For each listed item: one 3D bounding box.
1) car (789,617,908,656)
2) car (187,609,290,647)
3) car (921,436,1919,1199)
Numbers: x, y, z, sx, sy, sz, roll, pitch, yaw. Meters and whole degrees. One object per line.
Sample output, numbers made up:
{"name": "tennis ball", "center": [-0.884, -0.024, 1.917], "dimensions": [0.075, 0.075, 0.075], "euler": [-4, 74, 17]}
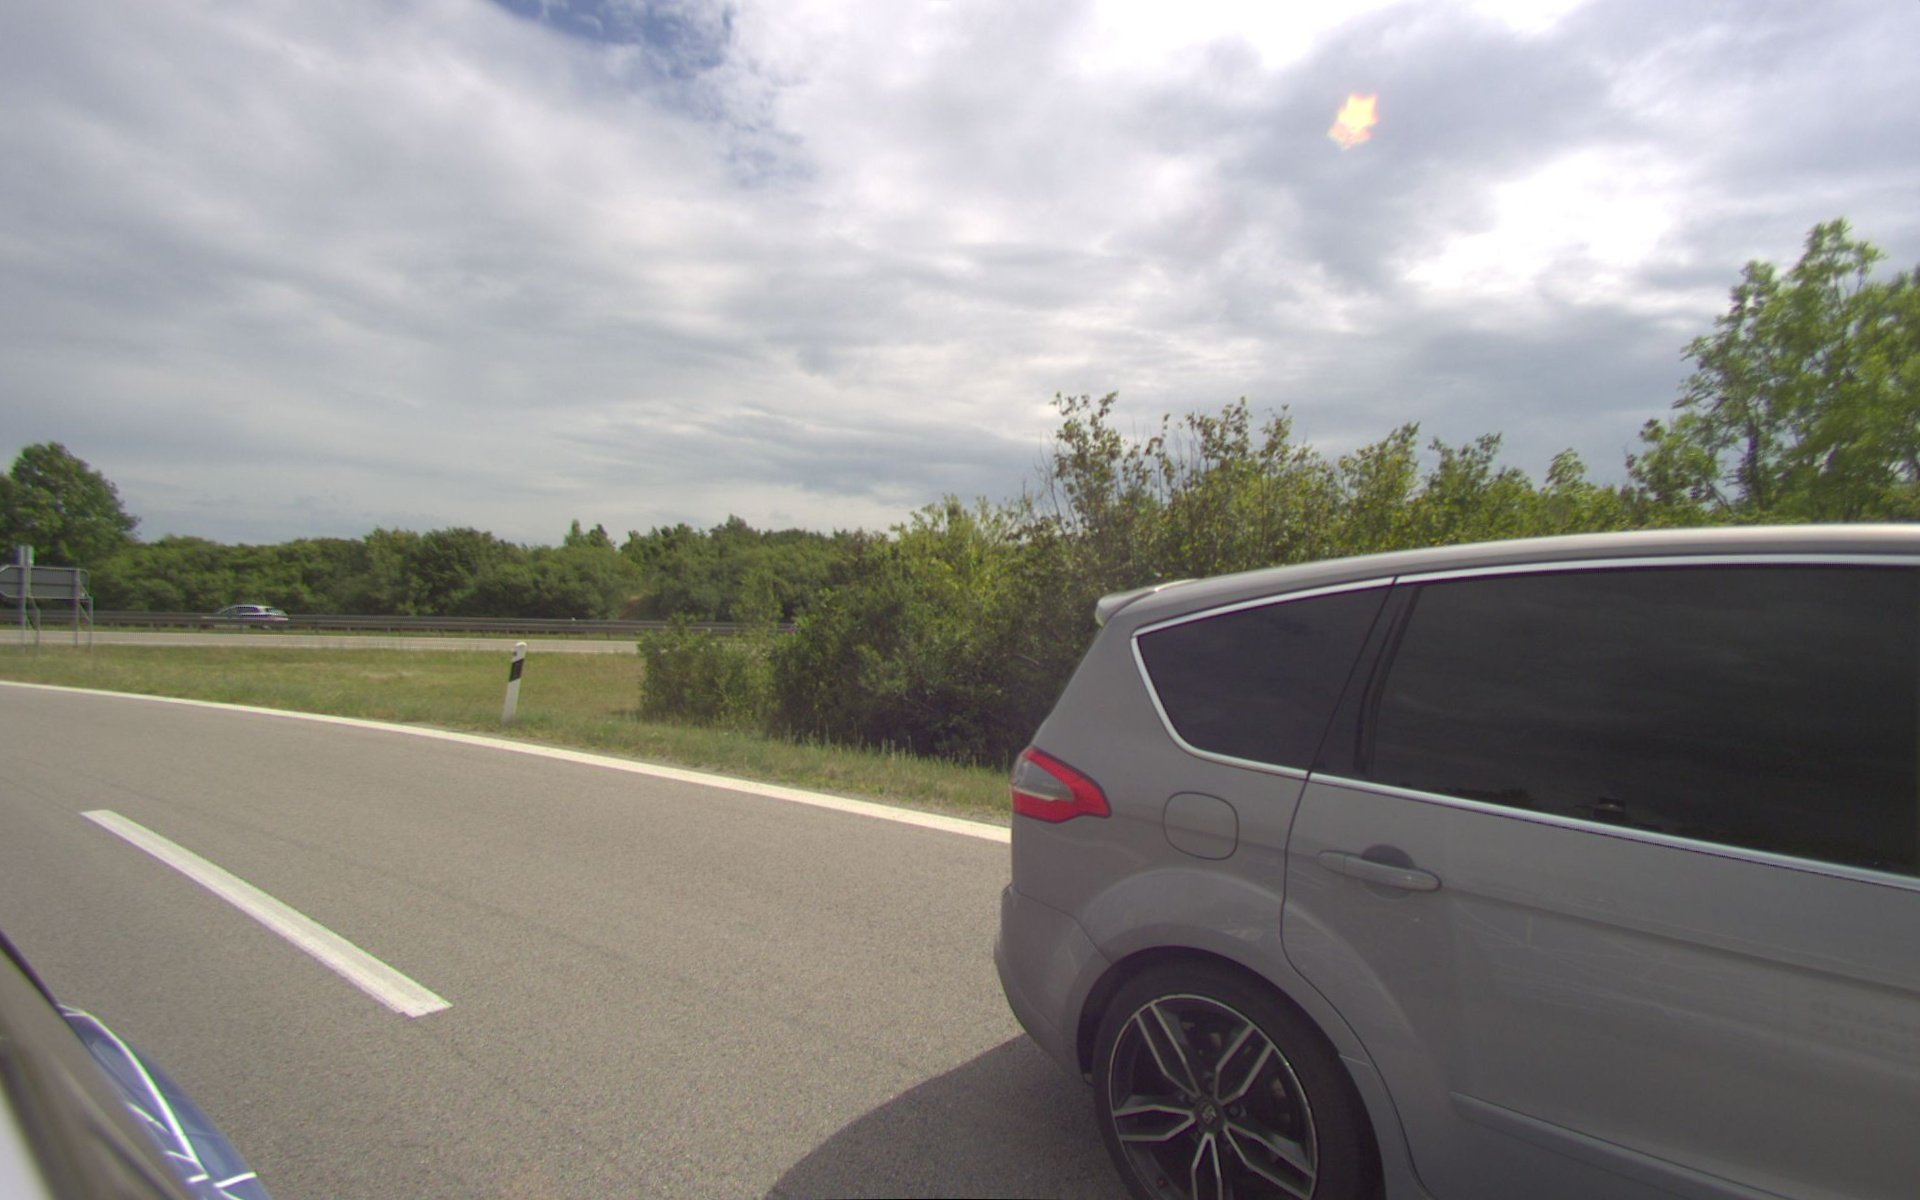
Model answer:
{"name": "car", "center": [-4.356, 1.439, 40.085], "dimensions": [4.520, 1.434, 2.001], "euler": [1, -1, -2]}
{"name": "car", "center": [-37.970, 1.470, 53.304], "dimensions": [4.147, 1.887, 1.844], "euler": [0, 0, 0]}
{"name": "car", "center": [2.251, 0.589, 1.922], "dimensions": [4.587, 1.589, 1.999], "euler": [0, -2, 43]}
